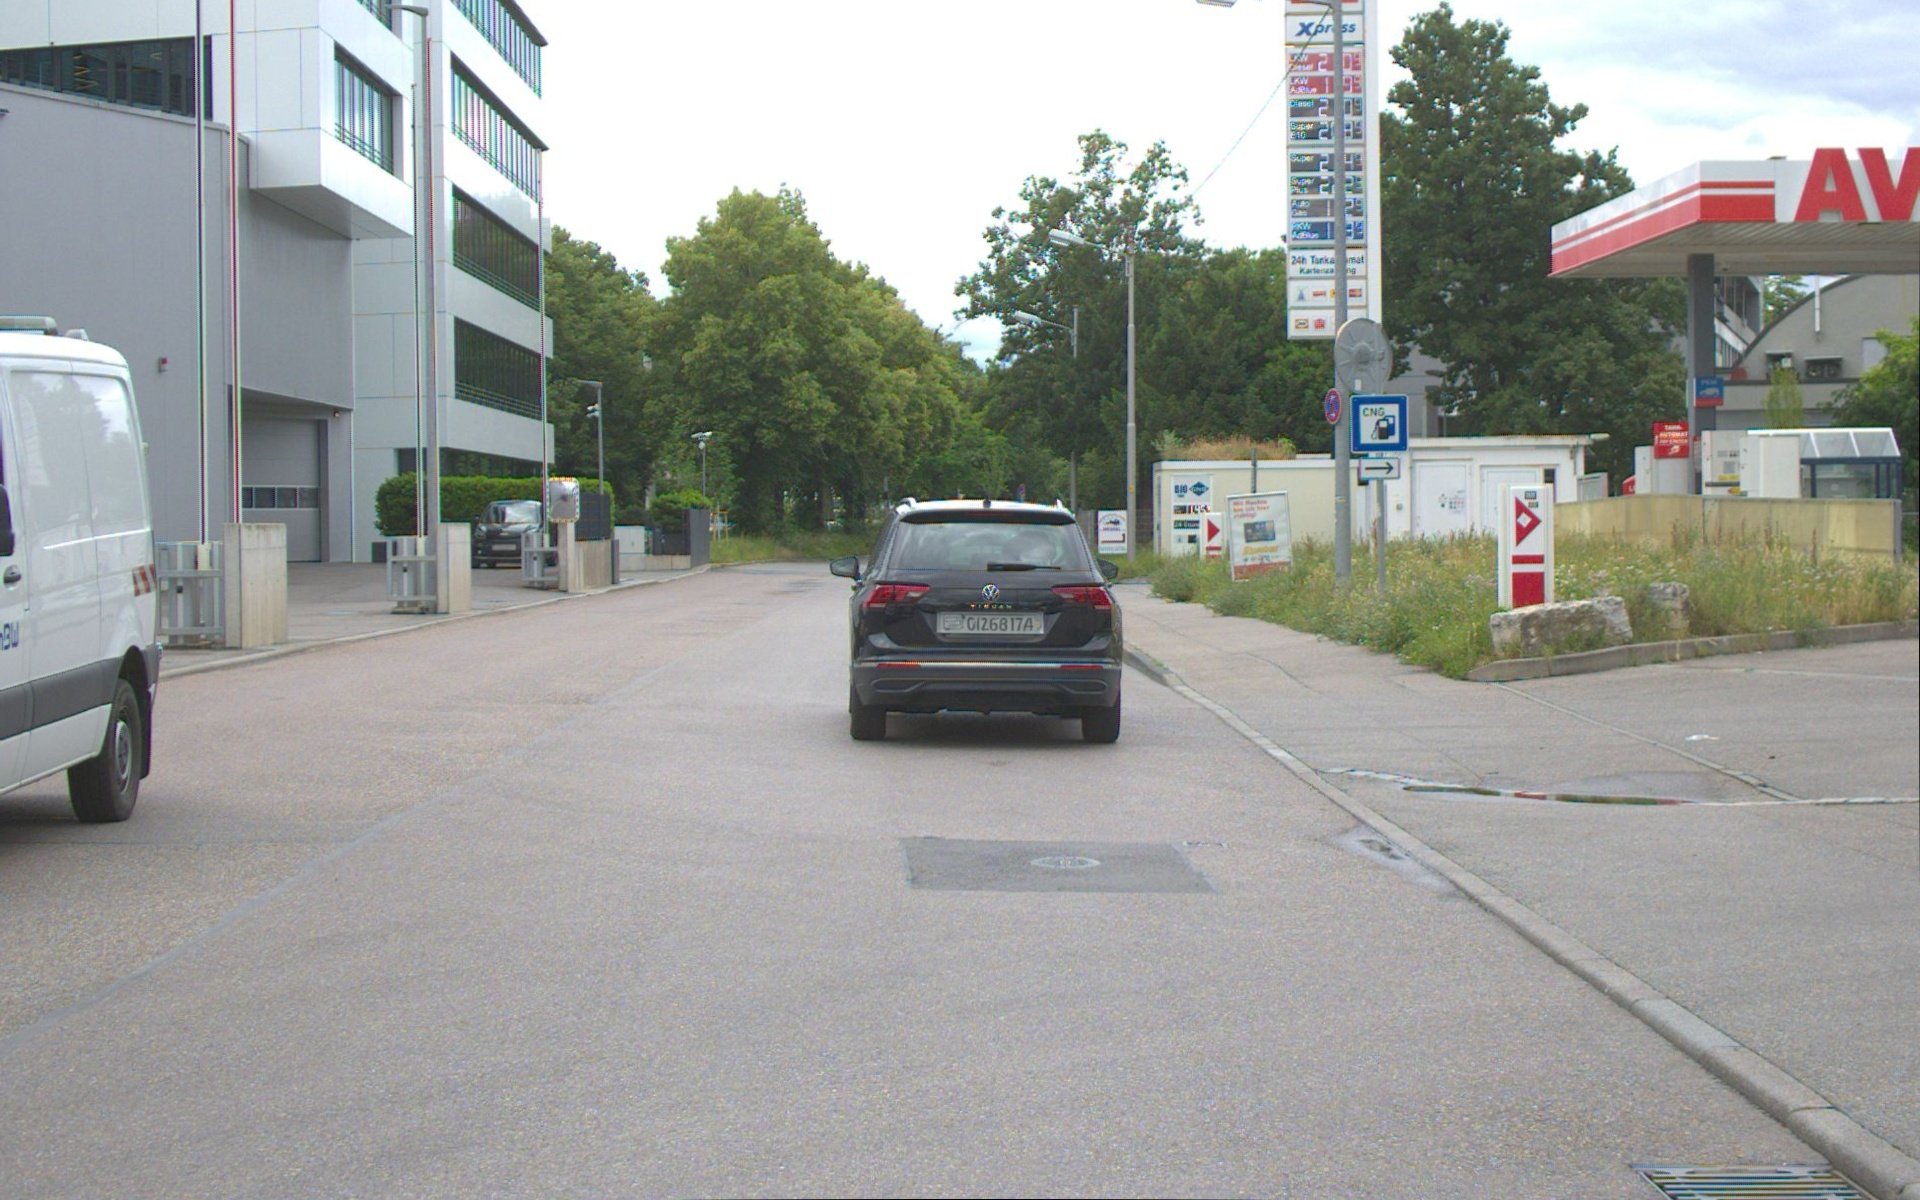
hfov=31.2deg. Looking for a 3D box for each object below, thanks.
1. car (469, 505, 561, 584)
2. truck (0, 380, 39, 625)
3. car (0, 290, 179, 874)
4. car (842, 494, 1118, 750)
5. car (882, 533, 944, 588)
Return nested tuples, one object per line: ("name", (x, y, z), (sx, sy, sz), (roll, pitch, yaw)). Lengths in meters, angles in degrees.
("car", (-10.238, -1.285, 79.290), (1.650, 1.756, 3.179), (1, 1, 1))
("truck", (-17.857, -1.548, 54.421), (2.745, 4.017, 7.086), (1, 2, 20))
("car", (-4.962, -0.103, 14.948), (1.993, 2.407, 5.257), (1, 2, -1))
("car", (0.181, 0.106, 23.921), (1.739, 1.612, 3.641), (1, 1, 2))
("car", (-1.419, -1.201, 104.000), (1.839, 1.611, 4.000), (0, 1, 0))
